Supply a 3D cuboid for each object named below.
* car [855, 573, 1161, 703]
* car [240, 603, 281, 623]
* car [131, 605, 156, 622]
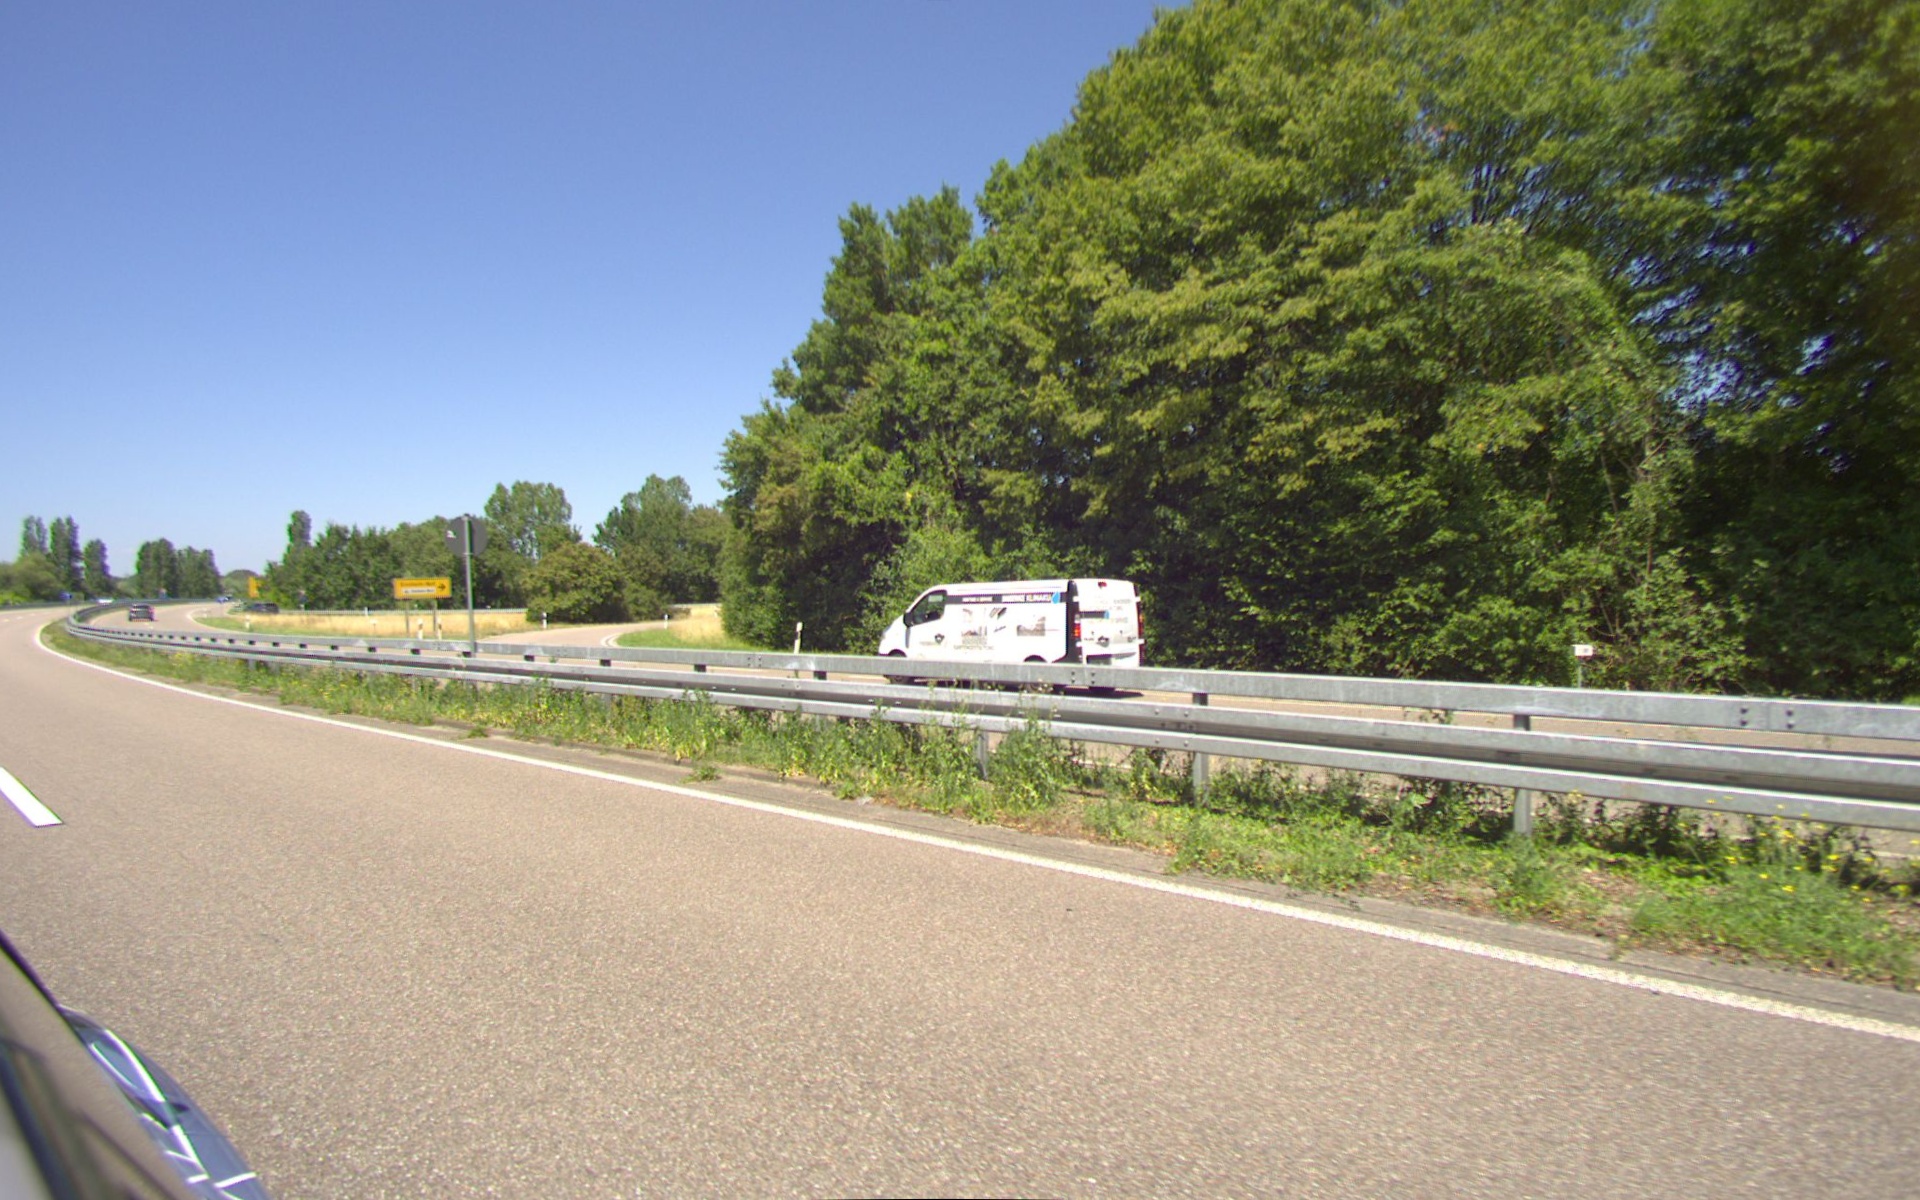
[{"bbox_3d":[0.650,0.625,18.067,1.966,1.966,5.643,1,-1,-44],"label":"car"},{"bbox_3d":[-76.024,1.389,109.929,3.980,2.028,1.982,-1,2,27],"label":"car"},{"bbox_3d":[-79.148,1.327,98.070,1.801,1.630,4.547,0,-1,-40],"label":"car"}]
